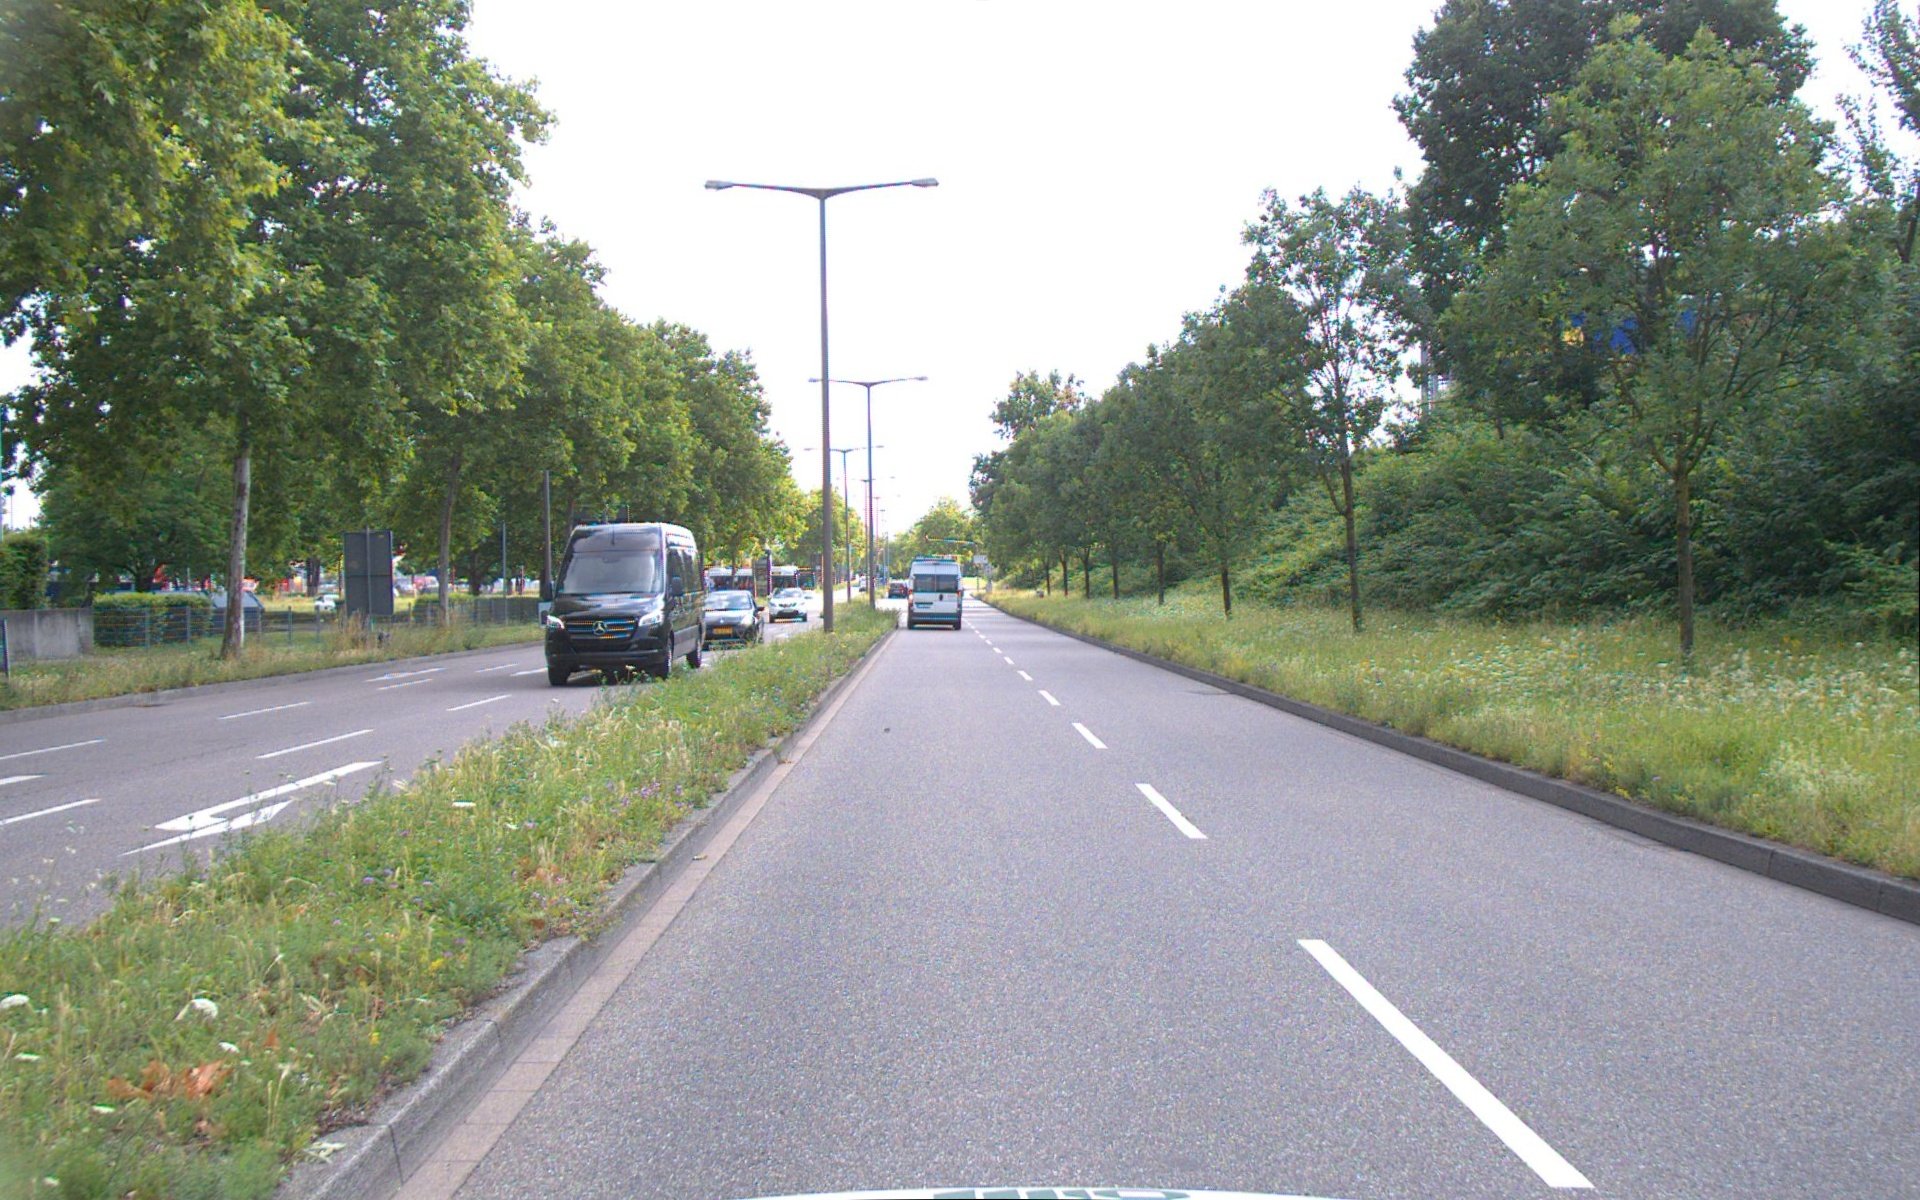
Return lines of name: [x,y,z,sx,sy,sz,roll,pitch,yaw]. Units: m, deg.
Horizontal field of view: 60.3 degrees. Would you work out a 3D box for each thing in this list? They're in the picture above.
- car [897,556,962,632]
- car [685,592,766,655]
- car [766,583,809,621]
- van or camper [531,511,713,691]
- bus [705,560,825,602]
car: [-1.216,-0.259,62.840,2.154,2.773,4.927,1,1,-4]
car: [-5.997,0.585,42.598,1.660,1.489,3.938,-2,0,-3]
car: [-8.173,0.072,78.632,1.778,1.668,4.349,-3,0,-3]
van or camper: [-5.713,0.016,28.853,2.062,2.706,6.713,-2,0,-3]
bus: [-18.127,-1.746,153.022,12.093,3.332,3.107,-2,0,37]
